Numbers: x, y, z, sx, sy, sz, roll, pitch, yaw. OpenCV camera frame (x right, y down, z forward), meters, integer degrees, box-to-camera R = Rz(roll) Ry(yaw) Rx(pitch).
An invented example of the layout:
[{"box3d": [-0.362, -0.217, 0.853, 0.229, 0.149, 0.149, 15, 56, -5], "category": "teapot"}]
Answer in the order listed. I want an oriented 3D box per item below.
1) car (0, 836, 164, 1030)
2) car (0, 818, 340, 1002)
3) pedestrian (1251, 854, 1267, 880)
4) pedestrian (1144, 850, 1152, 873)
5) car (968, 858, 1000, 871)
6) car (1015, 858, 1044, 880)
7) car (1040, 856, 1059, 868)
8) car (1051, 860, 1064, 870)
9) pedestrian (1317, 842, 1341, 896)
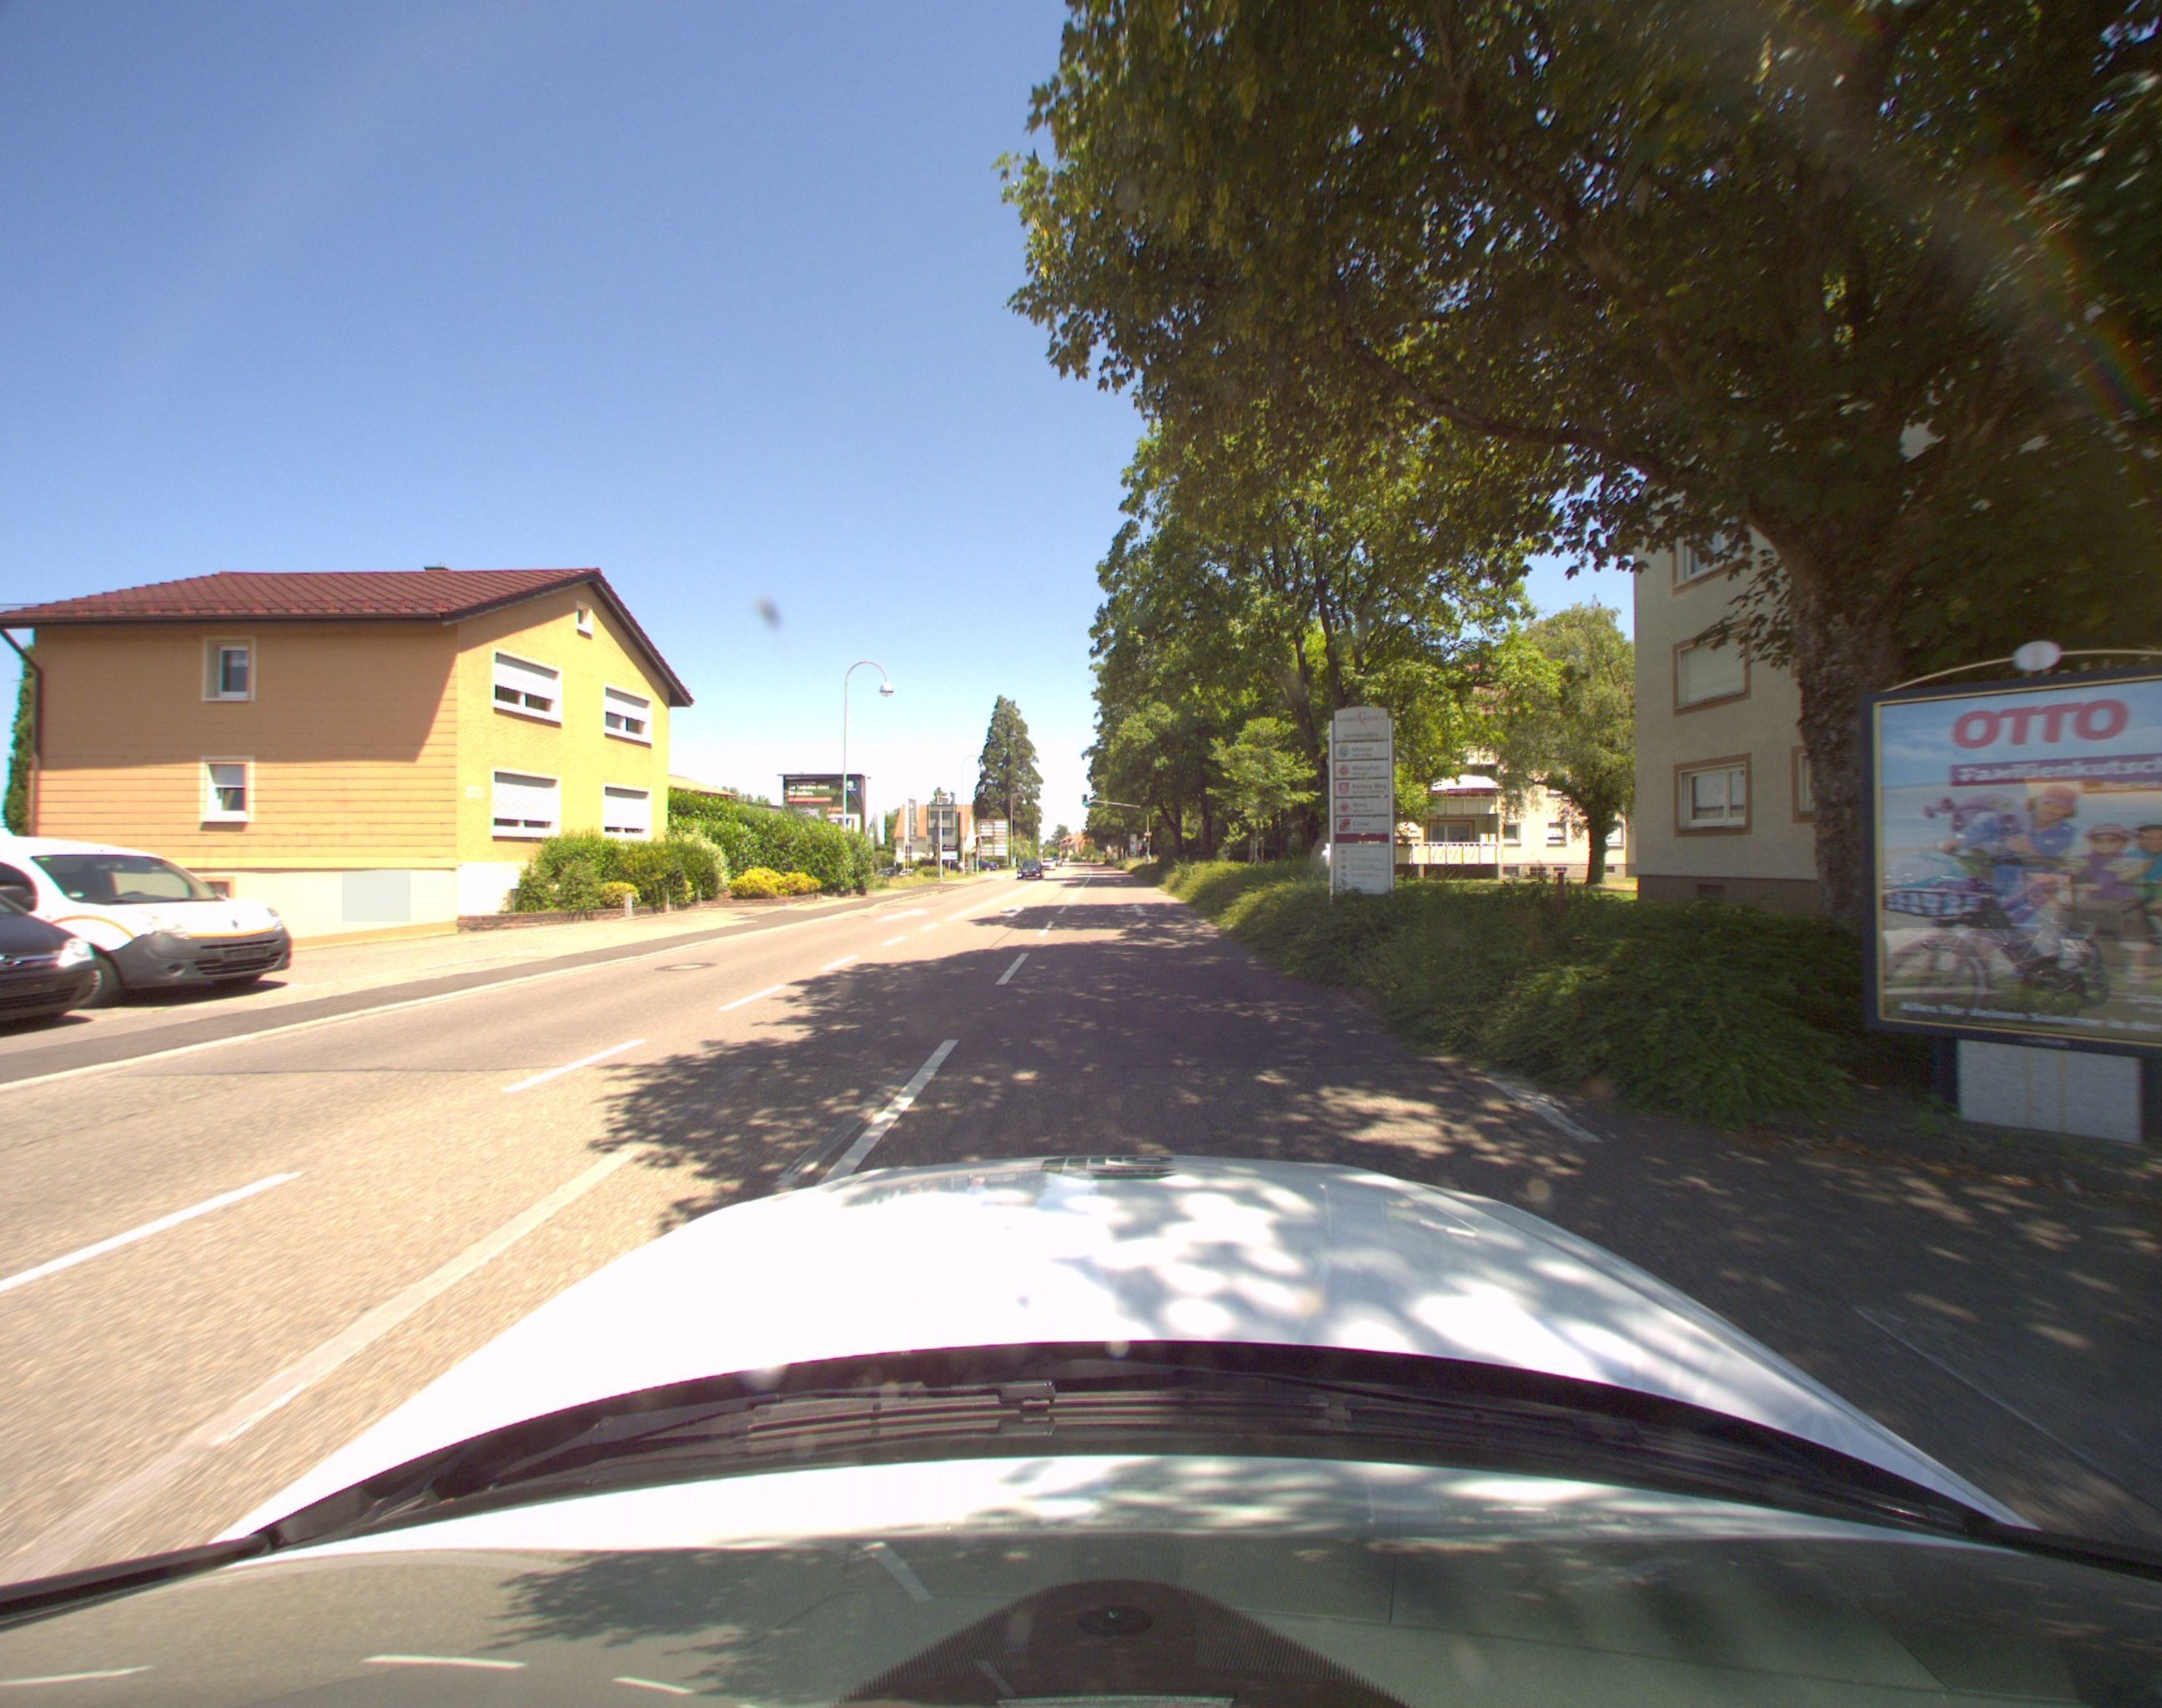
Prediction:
[{"box3d": [-11.146, 0.686, 7.276, 3.652, 1.672, 1.922, 0, -1, 0], "category": "car"}, {"box3d": [-11.599, 0.593, 9.423, 4.084, 1.898, 1.998, 0, -1, -3], "category": "car"}, {"box3d": [9.083, 0.668, 41.519, 0.659, 1.335, 0.889, 0, -1, 2], "category": "pedestrian"}, {"box3d": [5.294, 0.599, 63.931, 0.610, 1.751, 0.563, 0, -1, 7], "category": "pedestrian"}, {"box3d": [-10.940, 1.171, 91.966, 3.478, 1.427, 1.601, 0, -1, 1], "category": "car"}, {"box3d": [-3.769, 1.061, 59.848, 1.703, 1.495, 4.279, 0, 0, 2], "category": "car"}, {"box3d": [-3.901, 0.962, 100.904, 1.985, 1.487, 4.312, -1, 0, 3], "category": "car"}, {"box3d": [-3.834, 1.780, 134.686, 1.872, 1.718, 4.312, 0, 0, 2], "category": "car"}, {"box3d": [8.928, 0.527, 29.313, 0.700, 1.914, 0.661, -1, -1, 5], "category": "pedestrian"}]
